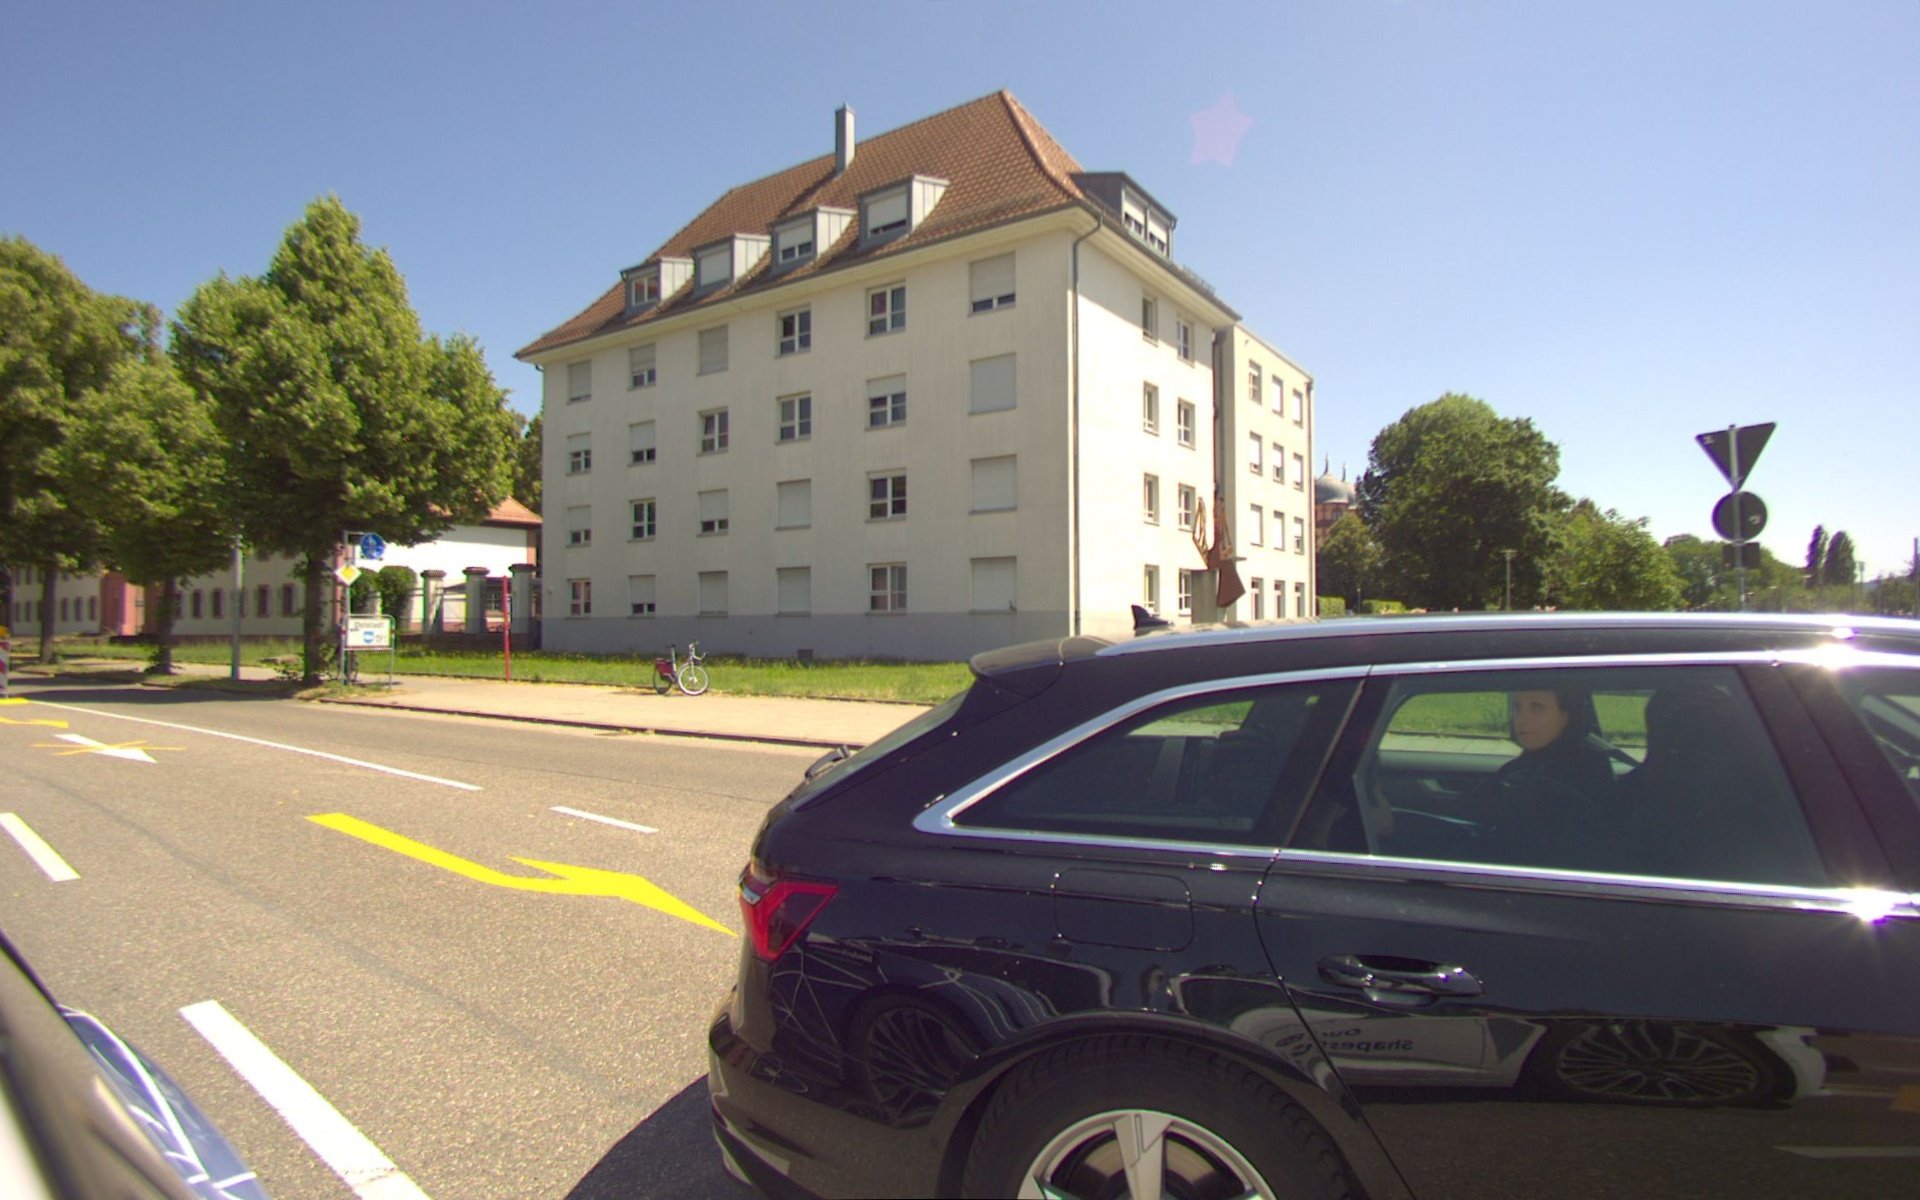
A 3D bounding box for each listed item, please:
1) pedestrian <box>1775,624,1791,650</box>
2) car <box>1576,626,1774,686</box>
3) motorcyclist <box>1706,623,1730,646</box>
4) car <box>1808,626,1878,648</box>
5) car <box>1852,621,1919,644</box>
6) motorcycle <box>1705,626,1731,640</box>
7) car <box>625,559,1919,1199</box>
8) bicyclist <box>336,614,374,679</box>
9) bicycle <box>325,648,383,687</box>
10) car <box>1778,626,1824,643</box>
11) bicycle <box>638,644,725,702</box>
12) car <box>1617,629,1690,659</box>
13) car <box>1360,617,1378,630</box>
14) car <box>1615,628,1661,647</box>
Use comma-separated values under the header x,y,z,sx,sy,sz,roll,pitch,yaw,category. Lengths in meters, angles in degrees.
x,y,z,sx,sy,sz,roll,pitch,yaw,category
53.859,2.430,66.236,0.671,1.677,1.325,-2,-2,34,pedestrian
17.321,1.324,24.673,3.800,1.337,1.639,-2,-2,36,car
53.265,2.409,71.119,1.252,1.621,1.423,-2,-2,36,motorcyclist
61.777,2.598,70.862,3.533,1.475,1.530,-2,-2,37,car
53.642,1.886,58.371,3.225,1.291,1.338,-2,-2,42,car
53.356,2.312,71.280,1.369,0.929,3.186,-2,-2,36,motorcycle
1.803,0.677,2.115,4.578,1.462,1.792,-1,-1,17,car
-15.203,1.161,25.441,0.739,1.623,0.562,-2,-2,36,bicyclist
-15.254,1.685,25.465,1.904,0.922,0.556,-2,-2,36,bicycle
73.963,3.024,88.993,3.039,1.479,1.370,-2,-2,42,car
-5.604,1.433,20.301,1.984,1.032,0.700,-1,1,41,bicycle
33.120,2.103,48.347,2.747,1.367,1.156,-2,-2,42,car
47.515,2.703,117.528,1.473,1.427,2.996,-1,-2,30,car
75.172,4.174,112.264,3.999,2.029,1.972,-2,-2,42,car
